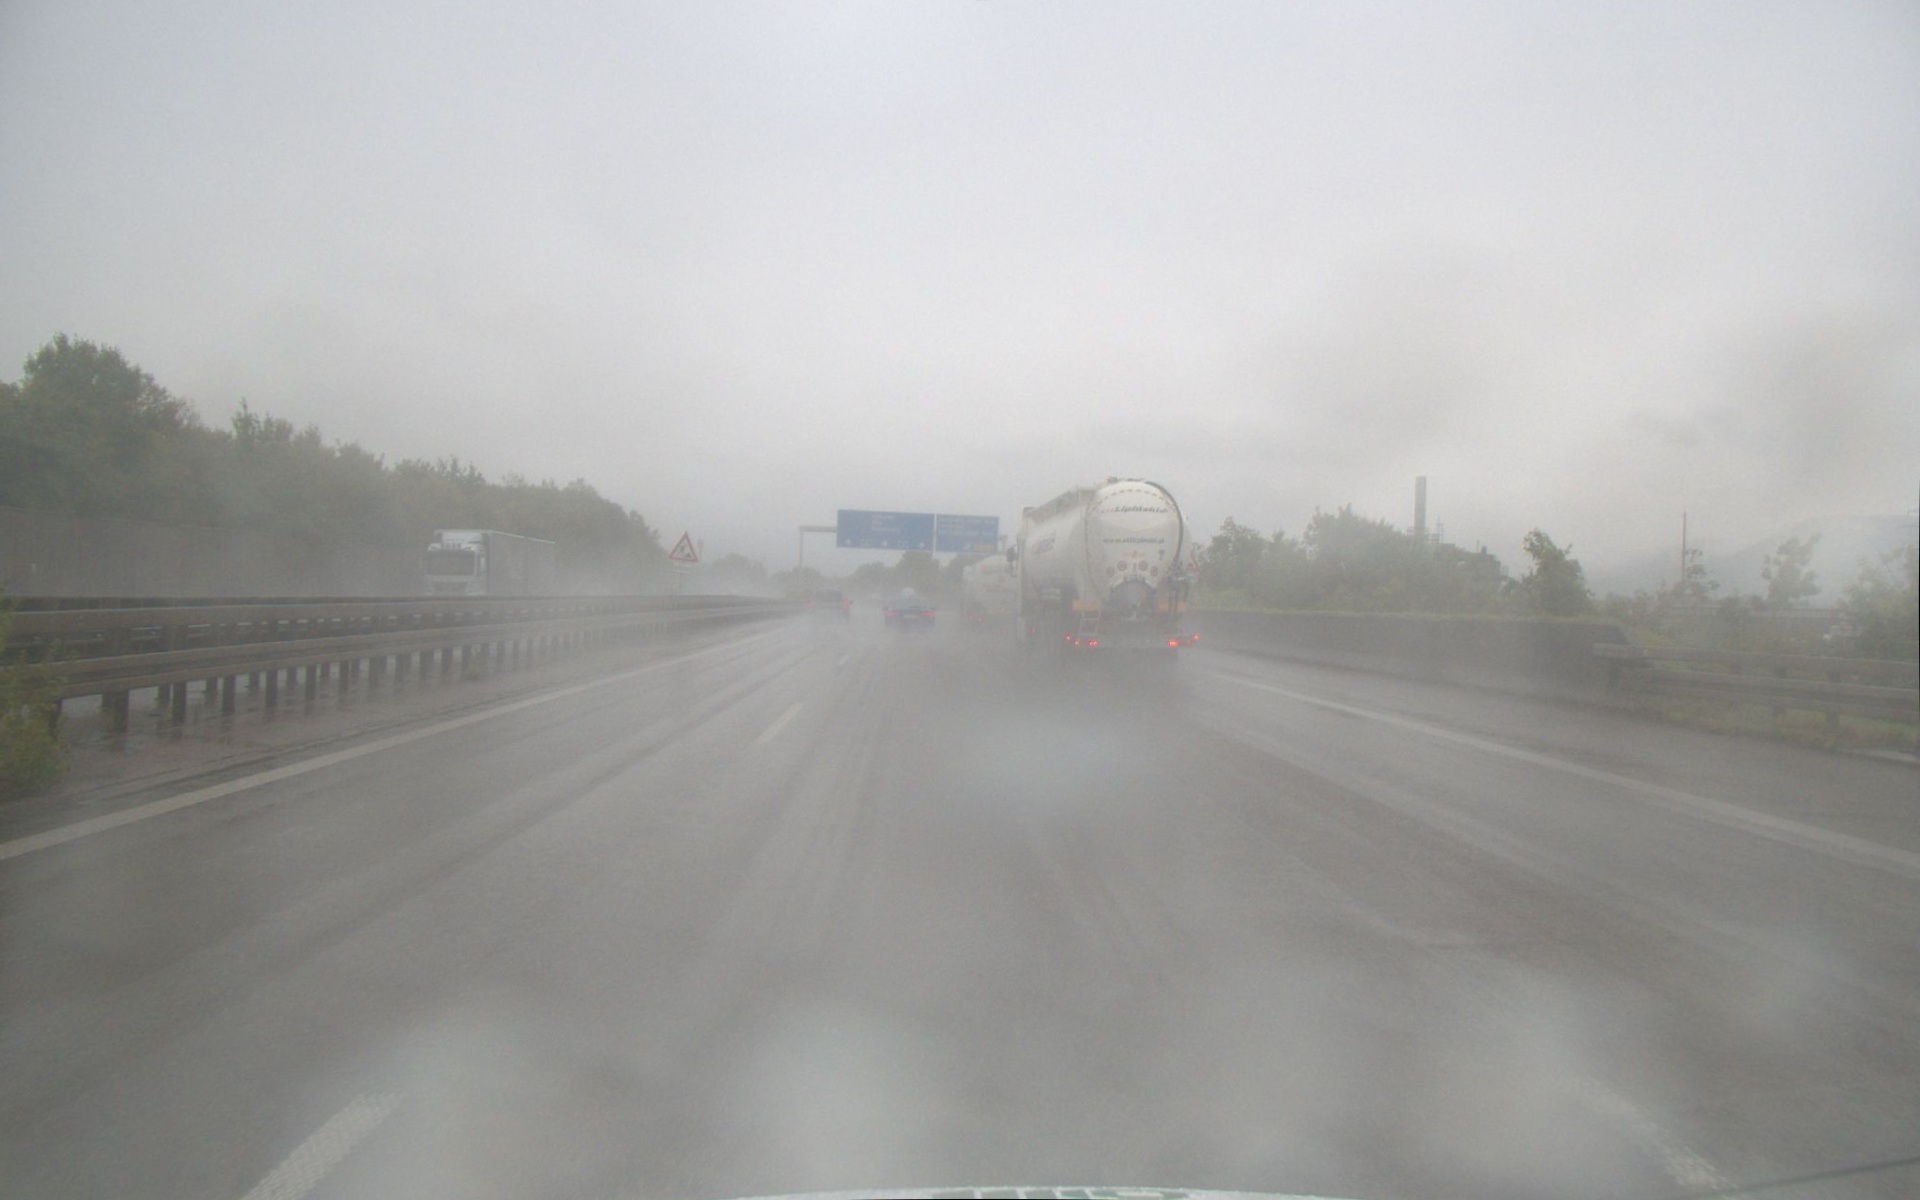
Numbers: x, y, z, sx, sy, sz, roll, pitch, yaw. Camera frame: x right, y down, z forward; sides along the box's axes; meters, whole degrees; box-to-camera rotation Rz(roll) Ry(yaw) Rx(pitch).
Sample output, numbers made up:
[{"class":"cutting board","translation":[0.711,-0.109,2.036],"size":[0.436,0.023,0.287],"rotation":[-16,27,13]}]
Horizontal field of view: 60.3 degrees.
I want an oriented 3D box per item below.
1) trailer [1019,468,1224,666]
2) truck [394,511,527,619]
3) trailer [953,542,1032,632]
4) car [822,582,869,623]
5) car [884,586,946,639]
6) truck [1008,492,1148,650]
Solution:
[{"class":"trailer","translation":[3.311,-0.671,37.612],"size":[3.124,3.734,11.662],"rotation":[1,0,-2]},{"class":"truck","translation":[-23.392,-1.563,78.091],"size":[3.759,4.720,9.487],"rotation":[1,0,-3]},{"class":"trailer","translation":[1.402,-0.606,76.428],"size":[2.945,3.915,8.617],"rotation":[0,0,-4]},{"class":"car","translation":[-5.155,0.083,74.864],"size":[1.886,1.771,4.403],"rotation":[1,0,-1]},{"class":"car","translation":[-1.565,0.416,58.896],"size":[1.937,1.787,4.482],"rotation":[1,1,1]},{"class":"truck","translation":[3.066,-0.750,44.985],"size":[3.042,3.873,7.210],"rotation":[1,0,-1]}]
